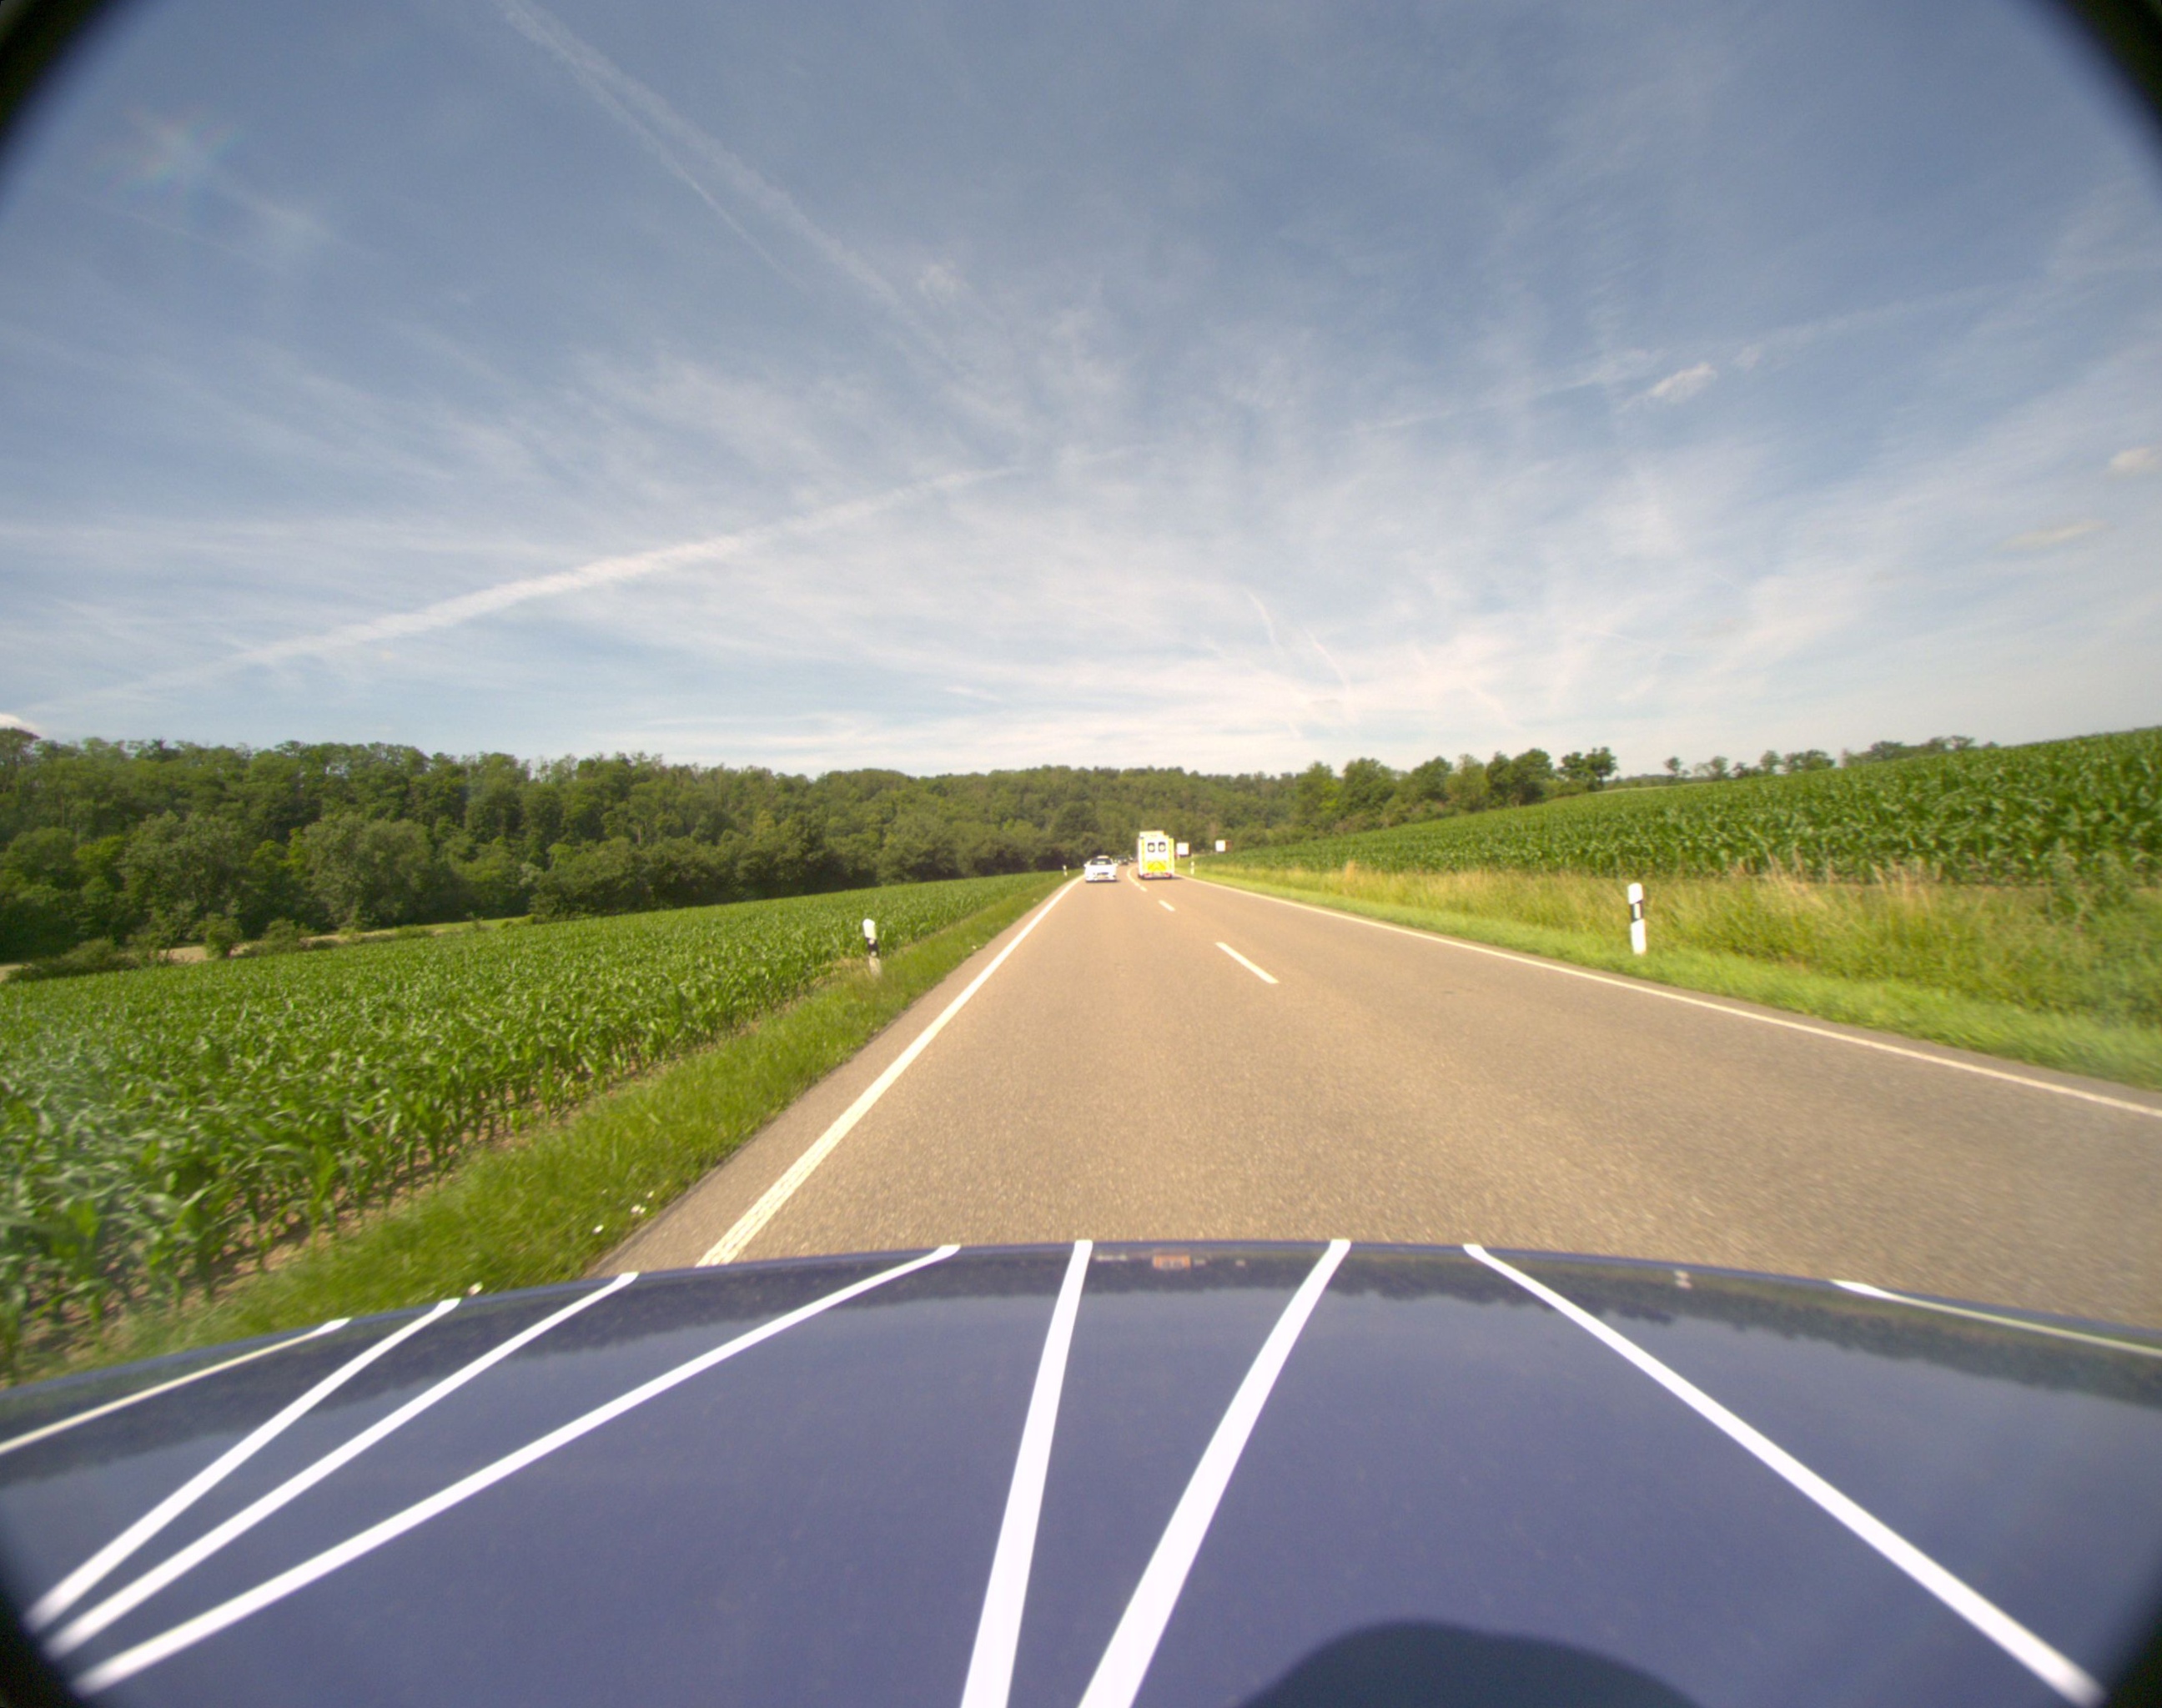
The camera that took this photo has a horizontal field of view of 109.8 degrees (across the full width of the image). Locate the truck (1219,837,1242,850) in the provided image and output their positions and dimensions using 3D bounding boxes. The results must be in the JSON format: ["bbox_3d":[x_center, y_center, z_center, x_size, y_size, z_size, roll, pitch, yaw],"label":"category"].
[{"bbox_3d":[48.478,-3.448,245.797,2.773,3.975,17.054,-1,1,26],"label":"truck"}]

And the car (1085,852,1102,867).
[{"bbox_3d":[1.368,0.575,83.873,1.717,1.523,4.000,-2,1,3],"label":"car"}]

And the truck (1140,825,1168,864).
[{"bbox_3d":[8.334,-1.026,87.480,2.833,3.969,16.538,-1,0,5],"label":"truck"}]

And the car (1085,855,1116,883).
[{"bbox_3d":[1.167,0.836,45.391,1.743,1.445,4.035,-2,1,1],"label":"car"}]

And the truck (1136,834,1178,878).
[{"bbox_3d":[4.846,0.072,49.363,2.213,2.656,6.416,-1,1,1],"label":"truck"}]

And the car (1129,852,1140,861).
[{"bbox_3d":[9.435,0.469,133.891,1.742,1.445,4.037,-2,1,8],"label":"car"}]

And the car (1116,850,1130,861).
[{"bbox_3d":[6.179,0.254,110.933,1.742,1.445,4.037,-2,1,7],"label":"car"}]

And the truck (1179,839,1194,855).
[{"bbox_3d":[25.358,-1.770,182.663,2.745,3.558,9.734,-2,0,12],"label":"truck"}]
